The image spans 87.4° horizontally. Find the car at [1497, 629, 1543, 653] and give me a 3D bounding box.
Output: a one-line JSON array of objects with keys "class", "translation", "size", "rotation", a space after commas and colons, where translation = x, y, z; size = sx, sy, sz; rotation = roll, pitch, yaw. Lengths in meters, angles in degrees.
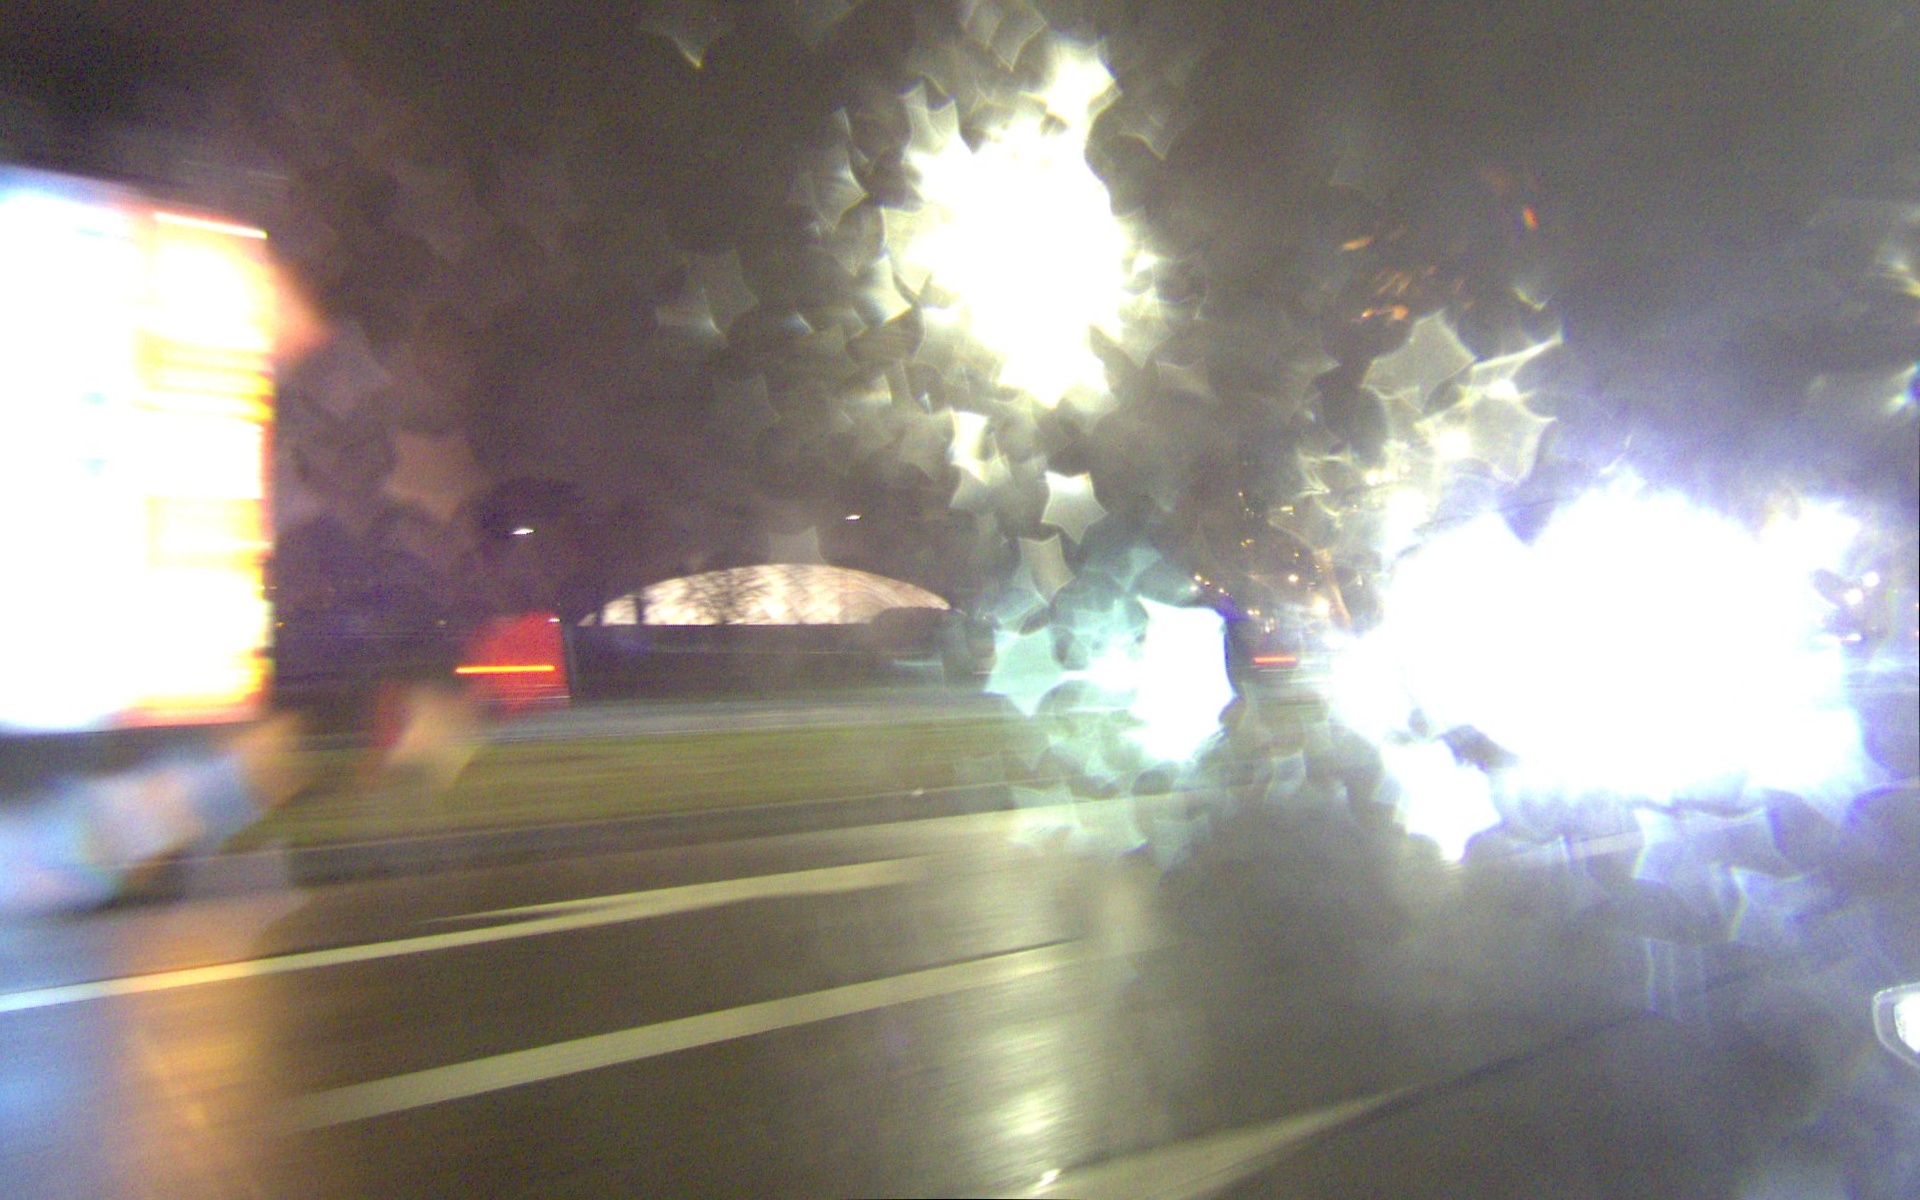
[{"class": "car", "translation": [38.529, 2.805, 69.084], "size": [1.970, 1.561, 4.395], "rotation": [0, -1, 40]}]

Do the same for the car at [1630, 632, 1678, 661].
[{"class": "car", "translation": [46.489, 3.060, 67.233], "size": [2.033, 1.755, 5.103], "rotation": [0, -1, 42]}]

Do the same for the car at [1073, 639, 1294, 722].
[{"class": "car", "translation": [4.748, 1.611, 21.086], "size": [4.607, 1.484, 1.819], "rotation": [1, -1, -32]}]

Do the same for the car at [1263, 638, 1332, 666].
[{"class": "car", "translation": [20.662, 3.168, 61.637], "size": [3.919, 1.595, 1.761], "rotation": [0, -1, 14]}]

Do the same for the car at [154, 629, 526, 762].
[{"class": "car", "translation": [-8.041, 1.143, 13.348], "size": [3.957, 1.484, 1.819], "rotation": [1, -1, -33]}]

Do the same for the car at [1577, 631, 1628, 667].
[{"class": "car", "translation": [34.898, 2.605, 54.500], "size": [2.037, 1.738, 5.023], "rotation": [0, -1, 36]}]

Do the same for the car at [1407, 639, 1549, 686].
[{"class": "car", "translation": [17.881, 2.110, 34.573], "size": [5.291, 1.421, 1.982], "rotation": [1, -1, -33]}]
